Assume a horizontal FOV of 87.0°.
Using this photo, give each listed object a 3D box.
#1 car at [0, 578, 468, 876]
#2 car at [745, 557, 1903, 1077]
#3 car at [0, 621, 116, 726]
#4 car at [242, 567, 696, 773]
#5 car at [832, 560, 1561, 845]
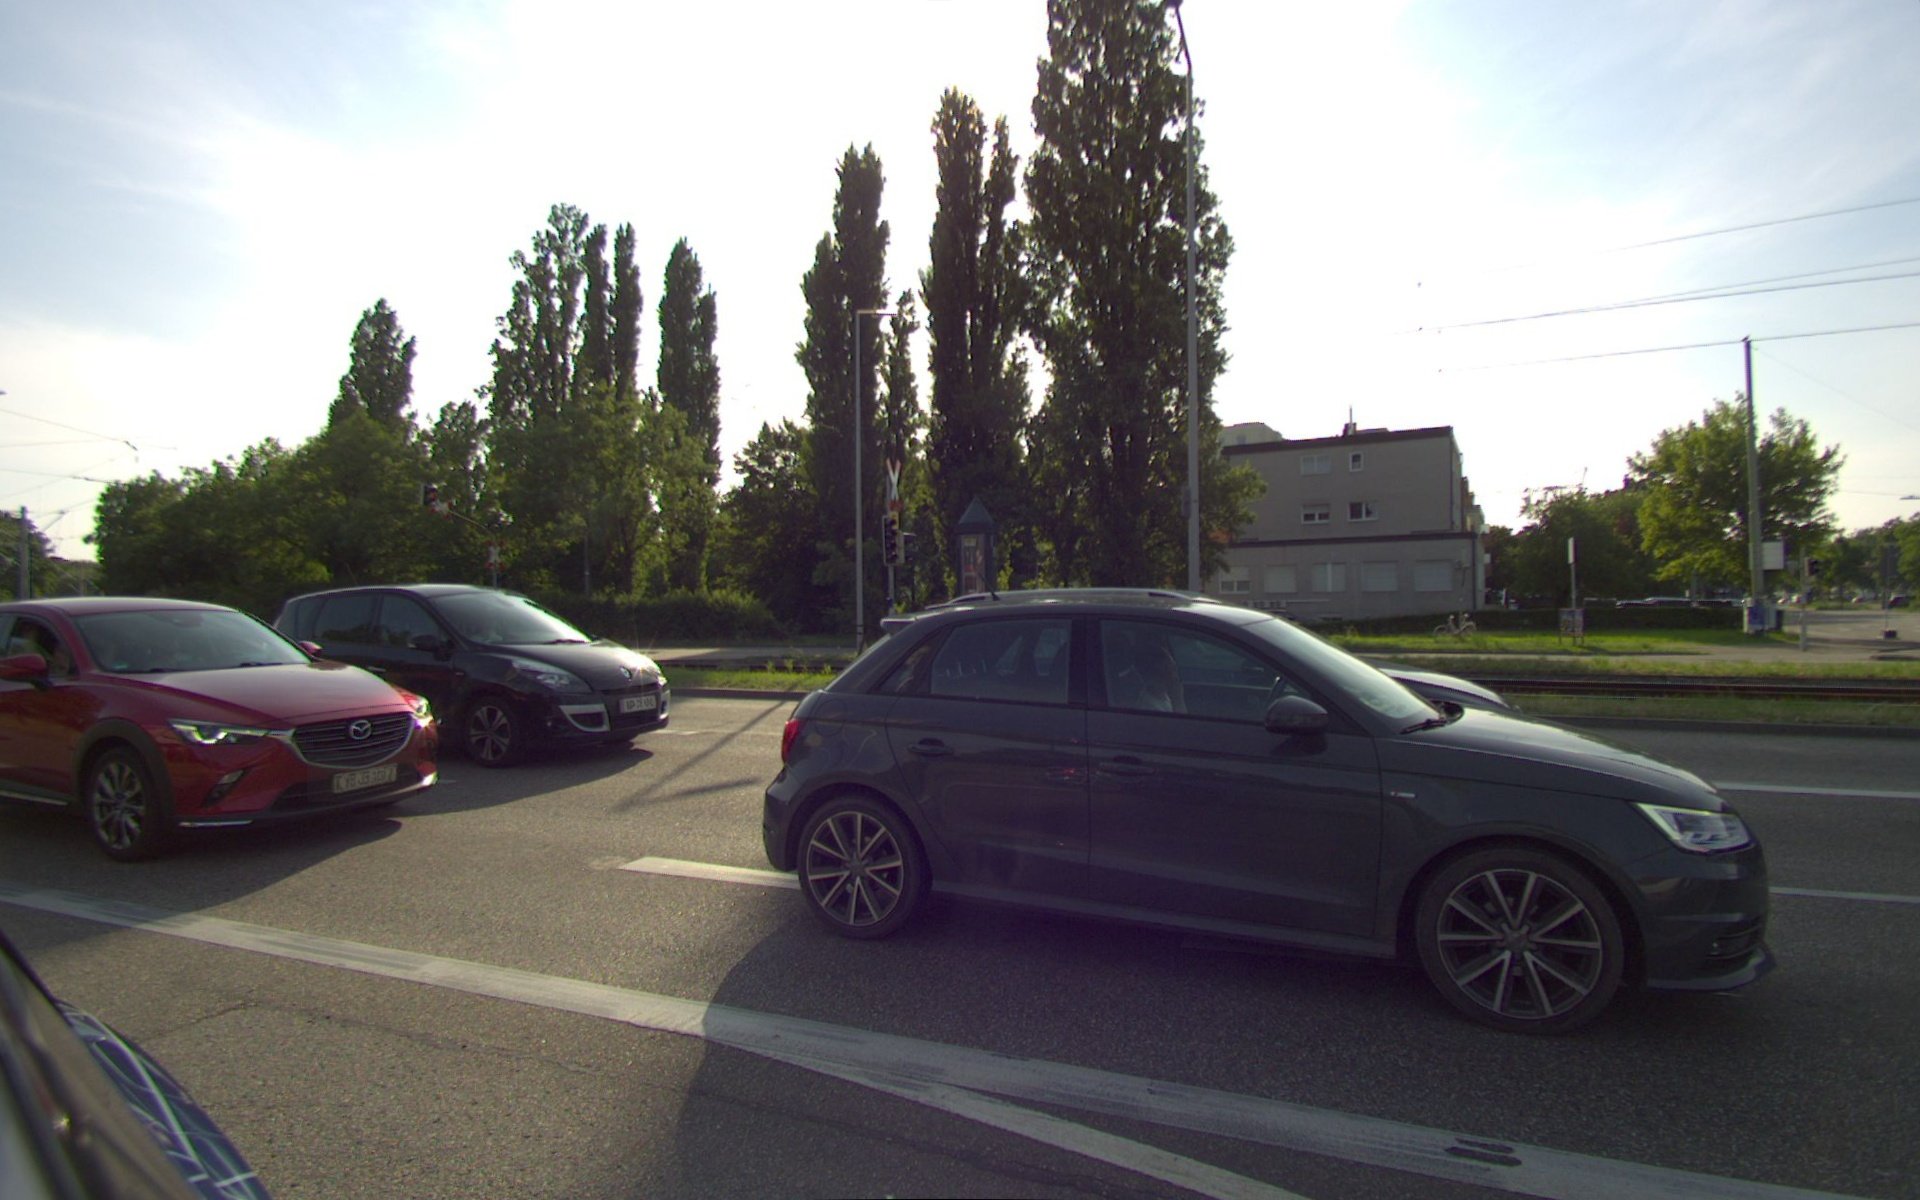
[{"bbox_3d":[-5.500,0.709,6.868,3.950,1.563,1.699,-1,-1,22],"label":"car"},{"bbox_3d":[1.138,0.627,4.290,3.804,1.408,1.634,-1,-1,24],"label":"car"},{"bbox_3d":[-13.268,0.942,13.334,3.821,1.215,1.724,-1,1,23],"label":"car"},{"bbox_3d":[-4.795,0.607,9.889,4.057,1.683,1.756,-1,0,23],"label":"car"},{"bbox_3d":[1.484,0.577,7.129,4.527,1.519,1.691,-1,0,25],"label":"car"}]
